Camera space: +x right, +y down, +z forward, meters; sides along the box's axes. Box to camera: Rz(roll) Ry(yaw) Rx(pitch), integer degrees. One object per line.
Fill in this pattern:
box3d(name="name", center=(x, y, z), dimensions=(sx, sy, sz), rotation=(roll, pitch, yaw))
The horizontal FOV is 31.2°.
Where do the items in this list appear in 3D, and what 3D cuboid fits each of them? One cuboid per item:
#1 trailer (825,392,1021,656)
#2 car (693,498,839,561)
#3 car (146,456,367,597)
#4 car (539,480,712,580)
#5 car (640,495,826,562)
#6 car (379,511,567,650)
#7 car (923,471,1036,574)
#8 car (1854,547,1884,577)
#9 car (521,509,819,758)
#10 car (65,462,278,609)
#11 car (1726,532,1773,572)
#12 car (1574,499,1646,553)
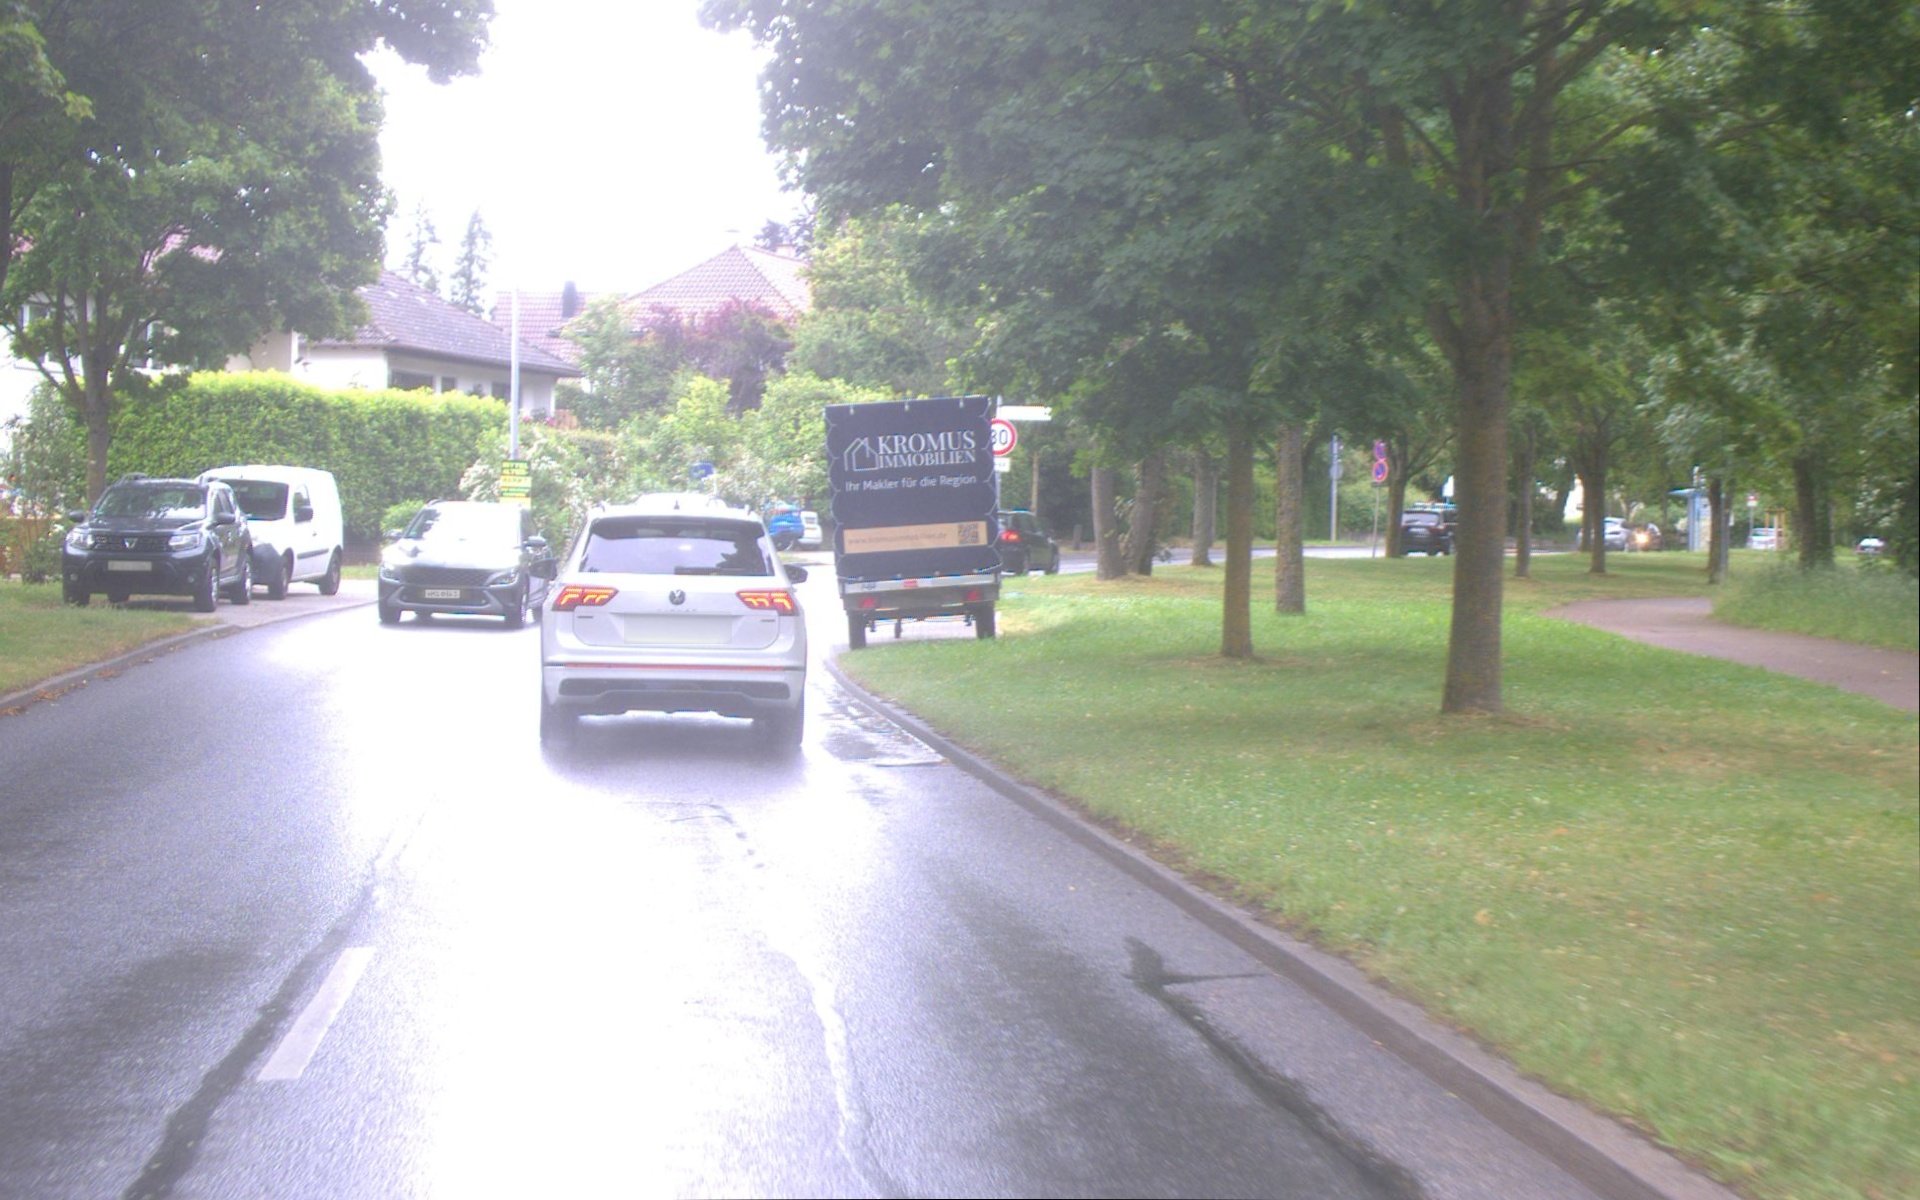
box3d(name="trailer", center=(-0.484, -0.911, 40.779), dimensions=(1.993, 2.798, 5.609), rotation=(-4, 2, -1))
box3d(name="car", center=(-5.117, -1.858, 90.631), dimensions=(3.406, 1.514, 1.729), rotation=(3, 2, 18))
box3d(name="car", center=(-9.818, -1.023, 48.291), dimensions=(1.799, 1.789, 4.372), rotation=(3, 1, 5))
box3d(name="car", center=(-6.029, -1.285, 62.444), dimensions=(1.853, 1.686, 4.403), rotation=(2, 2, 12))
box3d(name="car", center=(-5.765, -1.819, 87.443), dimensions=(4.242, 1.534, 2.050), rotation=(3, 2, 18))
box3d(name="car", center=(-6.181, -0.295, 44.032), dimensions=(1.789, 1.532, 4.093), rotation=(4, 2, -1))
box3d(name="car", center=(0.441, -1.626, 73.537), dimensions=(1.901, 2.007, 3.943), rotation=(4, 1, 6))
box3d(name="car", center=(51.626, -2.174, 195.210), dimensions=(1.422, 1.565, 3.428), rotation=(4, 1, 13))
box3d(name="car", center=(-2.183, 0.172, 24.877), dimensions=(1.973, 1.647, 4.178), rotation=(0, 1, -7))
box3d(name="car", center=(-9.799, -0.796, 43.045), dimensions=(1.750, 1.635, 4.593), rotation=(4, 1, -3))
box3d(name="car", center=(39.529, -2.383, 172.113), dimensions=(1.995, 1.801, 3.997), rotation=(4, 1, 16))
box3d(name="car", center=(24.709, -2.799, 130.532), dimensions=(1.996, 1.798, 3.996), rotation=(4, 1, 19))
